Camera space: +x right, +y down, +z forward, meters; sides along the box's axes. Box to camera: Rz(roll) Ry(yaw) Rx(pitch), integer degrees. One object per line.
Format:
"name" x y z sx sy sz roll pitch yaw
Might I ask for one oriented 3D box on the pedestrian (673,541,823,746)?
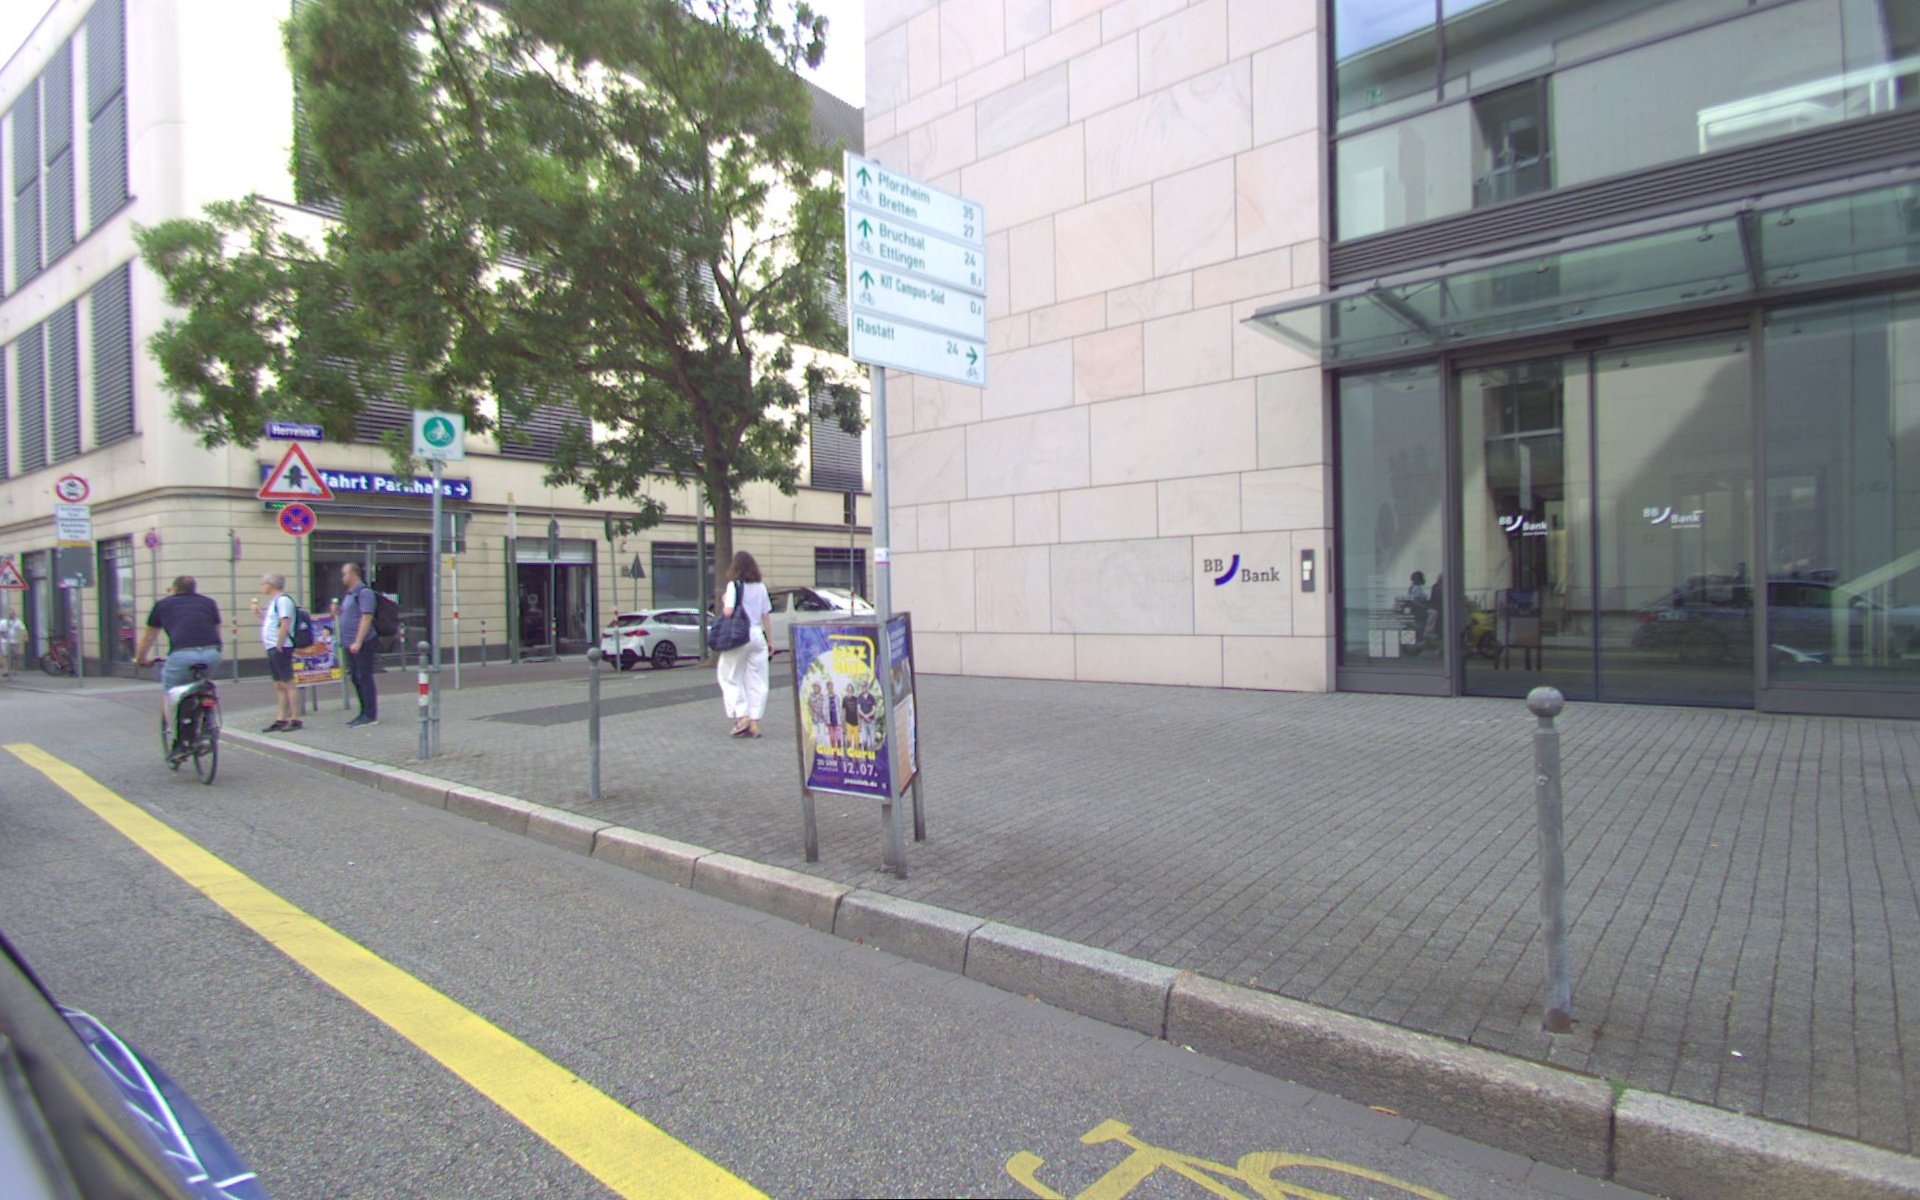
"pedestrian" -1.918 0.355 9.191 0.909 1.721 0.868 -1 4 40

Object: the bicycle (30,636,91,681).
"bicycle" -23.405 1.495 26.314 2.539 1.052 0.684 -1 0 37

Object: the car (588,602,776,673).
"car" -6.839 0.866 25.300 1.813 1.593 4.310 -1 0 38

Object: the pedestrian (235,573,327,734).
"pedestrian" -7.780 0.593 11.608 0.651 1.778 0.637 -1 0 29

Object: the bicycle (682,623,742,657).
"bicycle" -7.483 1.210 30.595 0.601 0.840 1.702 -4 1 40

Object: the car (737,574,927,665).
"car" -2.889 0.463 22.484 3.957 1.706 1.876 -5 -3 37

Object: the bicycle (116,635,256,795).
"bicycle" -6.911 0.952 8.995 1.953 1.250 0.640 -1 -3 43

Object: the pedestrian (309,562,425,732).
"pedestrian" -6.742 0.507 11.523 0.753 1.827 0.738 -2 3 29

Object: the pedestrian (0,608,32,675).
"pedestrian" -26.313 1.138 27.865 0.878 1.778 1.063 -5 3 -36

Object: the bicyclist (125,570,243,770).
"bicyclist" -6.907 0.599 8.999 0.940 1.666 0.636 -1 -3 43

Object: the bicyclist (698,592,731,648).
"bicyclist" -7.439 0.608 30.661 0.622 1.631 0.635 -2 1 41
